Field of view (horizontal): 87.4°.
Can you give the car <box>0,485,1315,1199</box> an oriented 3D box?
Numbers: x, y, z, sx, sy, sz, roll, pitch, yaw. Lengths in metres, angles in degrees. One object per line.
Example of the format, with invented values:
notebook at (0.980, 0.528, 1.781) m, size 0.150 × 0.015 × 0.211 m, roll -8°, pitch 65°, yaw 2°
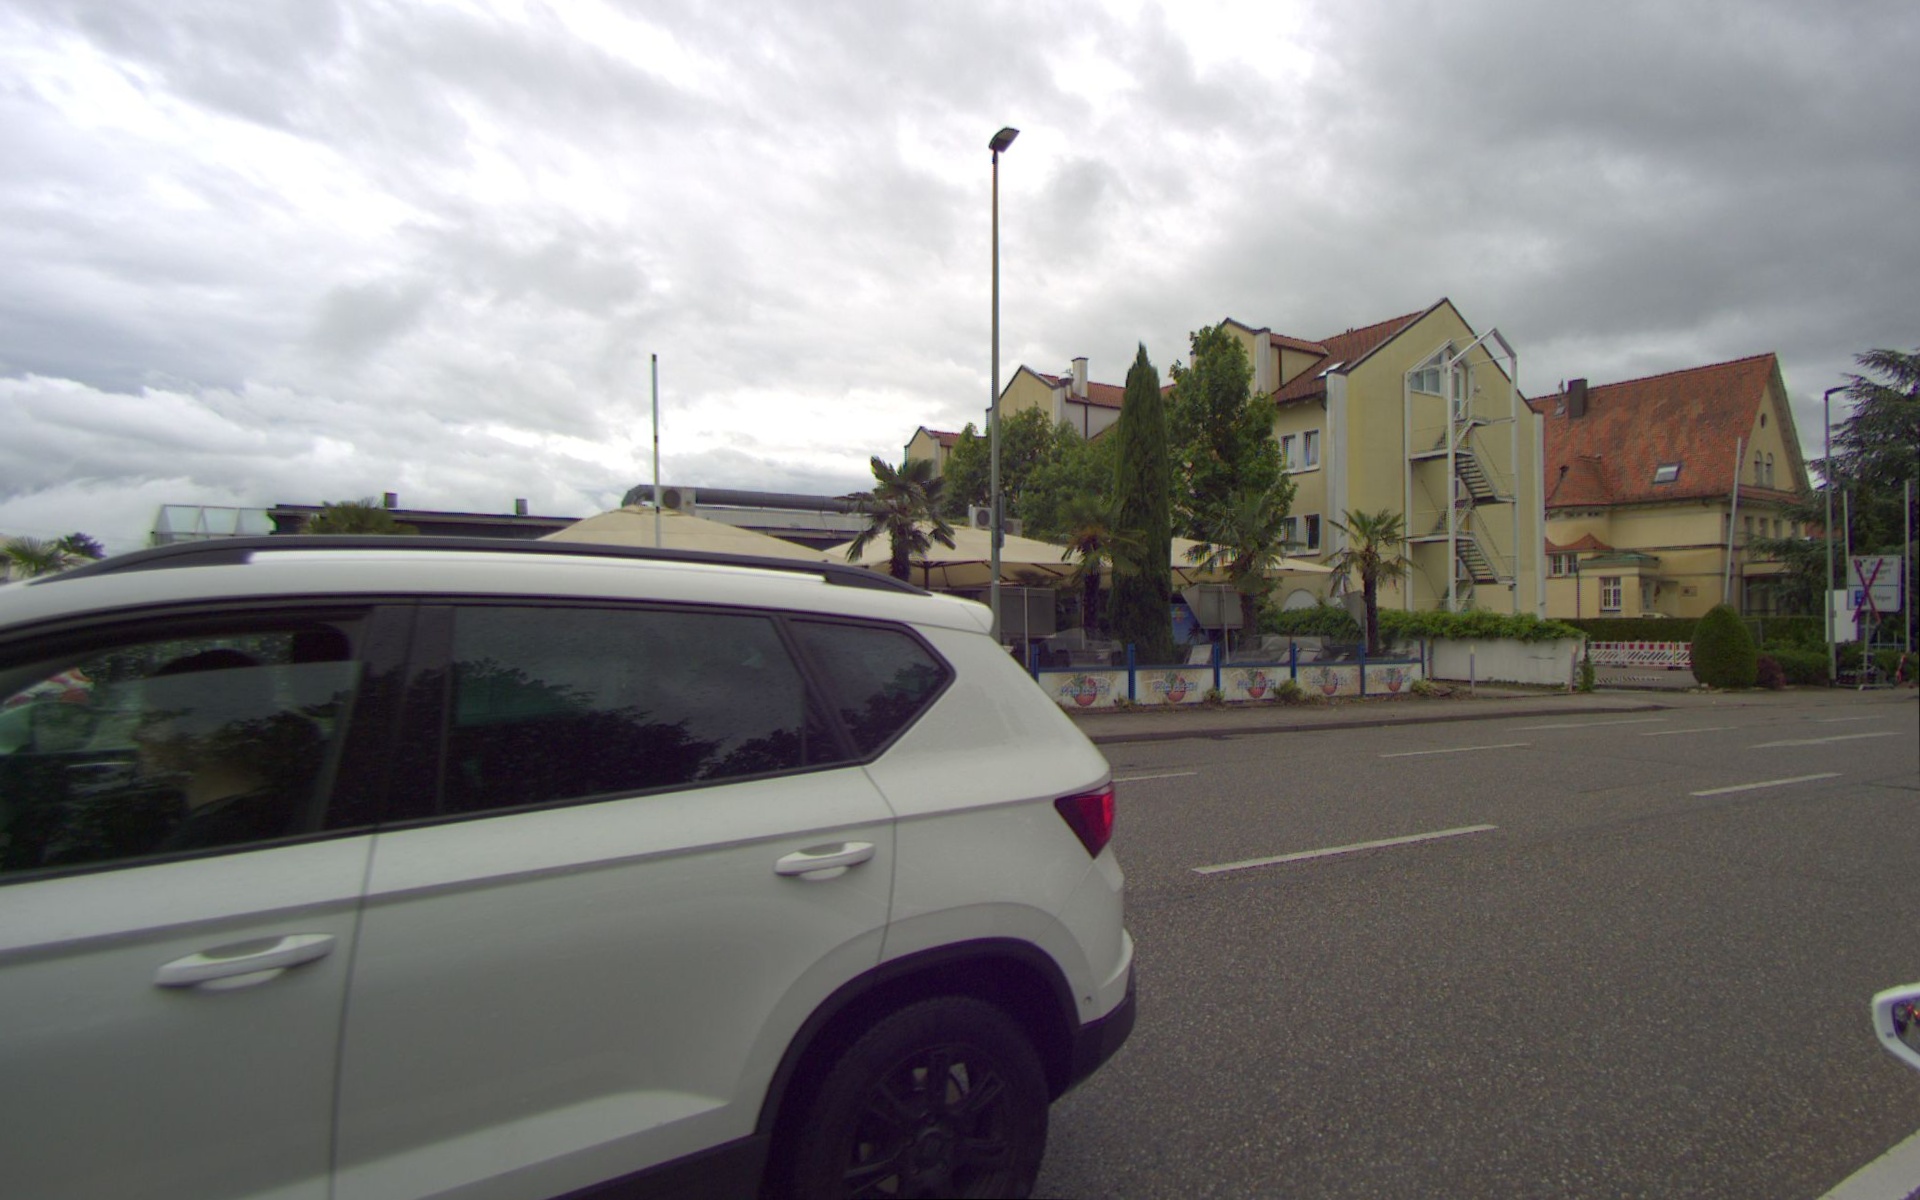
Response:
car at (-1.281, 0.670, 2.369) m, size 4.192 × 1.602 × 1.778 m, roll 2°, pitch -1°, yaw -32°
